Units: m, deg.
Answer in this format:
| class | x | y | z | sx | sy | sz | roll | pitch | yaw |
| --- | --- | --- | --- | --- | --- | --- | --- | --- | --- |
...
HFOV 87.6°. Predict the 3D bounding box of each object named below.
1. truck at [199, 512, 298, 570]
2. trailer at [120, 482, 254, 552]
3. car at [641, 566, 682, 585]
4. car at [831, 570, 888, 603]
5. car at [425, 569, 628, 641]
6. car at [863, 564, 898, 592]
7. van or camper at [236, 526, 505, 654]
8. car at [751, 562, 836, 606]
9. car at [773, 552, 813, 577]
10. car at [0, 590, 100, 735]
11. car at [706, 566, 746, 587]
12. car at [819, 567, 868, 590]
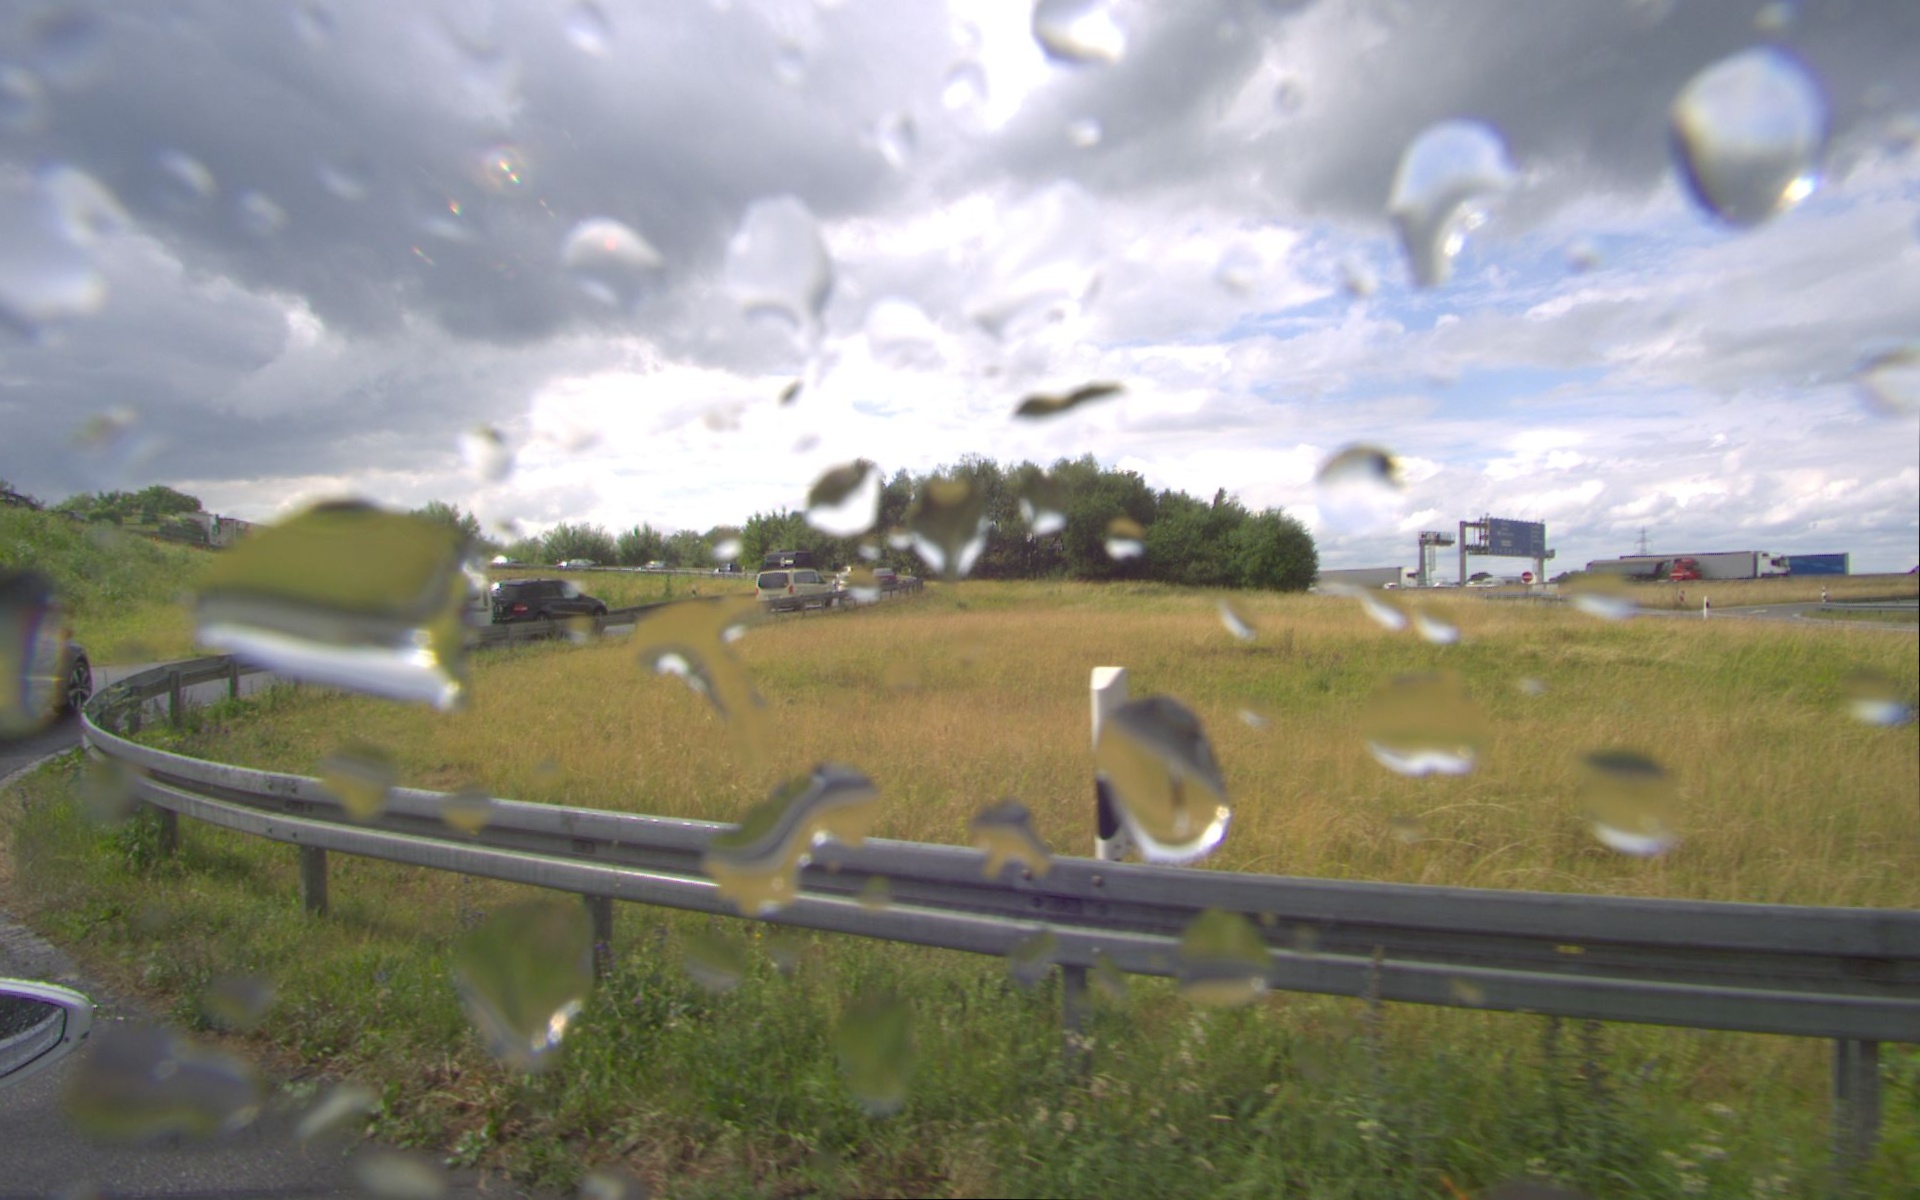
| class | x | y | z | sx | sy | sz | roll | pitch | yaw |
| --- | --- | --- | --- | --- | --- | --- | --- | --- | --- |
| truck | -75.795 | -6.045 | 107.339 | 4.402 | 4.560 | 19.319 | 1 | -2 | -23 |
| trailer | -68.304 | -7.024 | 89.403 | 4.356 | 4.006 | 20.159 | 1 | -2 | -23 |
| car | -31.652 | -2.584 | 106.149 | 3.940 | 2.041 | 1.990 | 1 | 2 | 31 |
| car | -5.895 | -0.782 | 59.396 | 1.962 | 1.886 | 5.053 | 0 | 0 | 11 |
| car | -12.894 | 0.097 | 30.305 | 2.393 | 1.952 | 5.748 | 1 | 1 | 19 |
| car | -5.544 | -1.495 | 69.511 | 1.962 | 1.886 | 5.053 | -1 | 0 | -9 |
| van or camper | -14.319 | -0.257 | 24.934 | 2.392 | 2.766 | 5.995 | 1 | 1 | 12 |
| car | -7.685 | -0.722 | 46.706 | 1.963 | 1.886 | 5.050 | 0 | 1 | 15 |
| car | -15.432 | -3.255 | 92.395 | 1.977 | 2.039 | 3.970 | 1 | -2 | -38 |
| car | -11.828 | 0.671 | 11.748 | 1.697 | 1.545 | 3.981 | 1 | 0 | -27 |
| car | -23.558 | -2.358 | 100.828 | 3.955 | 2.041 | 1.983 | 0 | 1 | 42 |
| car | -9.685 | -1.737 | 82.879 | 1.646 | 1.808 | 5.018 | -1 | 1 | -38 |
